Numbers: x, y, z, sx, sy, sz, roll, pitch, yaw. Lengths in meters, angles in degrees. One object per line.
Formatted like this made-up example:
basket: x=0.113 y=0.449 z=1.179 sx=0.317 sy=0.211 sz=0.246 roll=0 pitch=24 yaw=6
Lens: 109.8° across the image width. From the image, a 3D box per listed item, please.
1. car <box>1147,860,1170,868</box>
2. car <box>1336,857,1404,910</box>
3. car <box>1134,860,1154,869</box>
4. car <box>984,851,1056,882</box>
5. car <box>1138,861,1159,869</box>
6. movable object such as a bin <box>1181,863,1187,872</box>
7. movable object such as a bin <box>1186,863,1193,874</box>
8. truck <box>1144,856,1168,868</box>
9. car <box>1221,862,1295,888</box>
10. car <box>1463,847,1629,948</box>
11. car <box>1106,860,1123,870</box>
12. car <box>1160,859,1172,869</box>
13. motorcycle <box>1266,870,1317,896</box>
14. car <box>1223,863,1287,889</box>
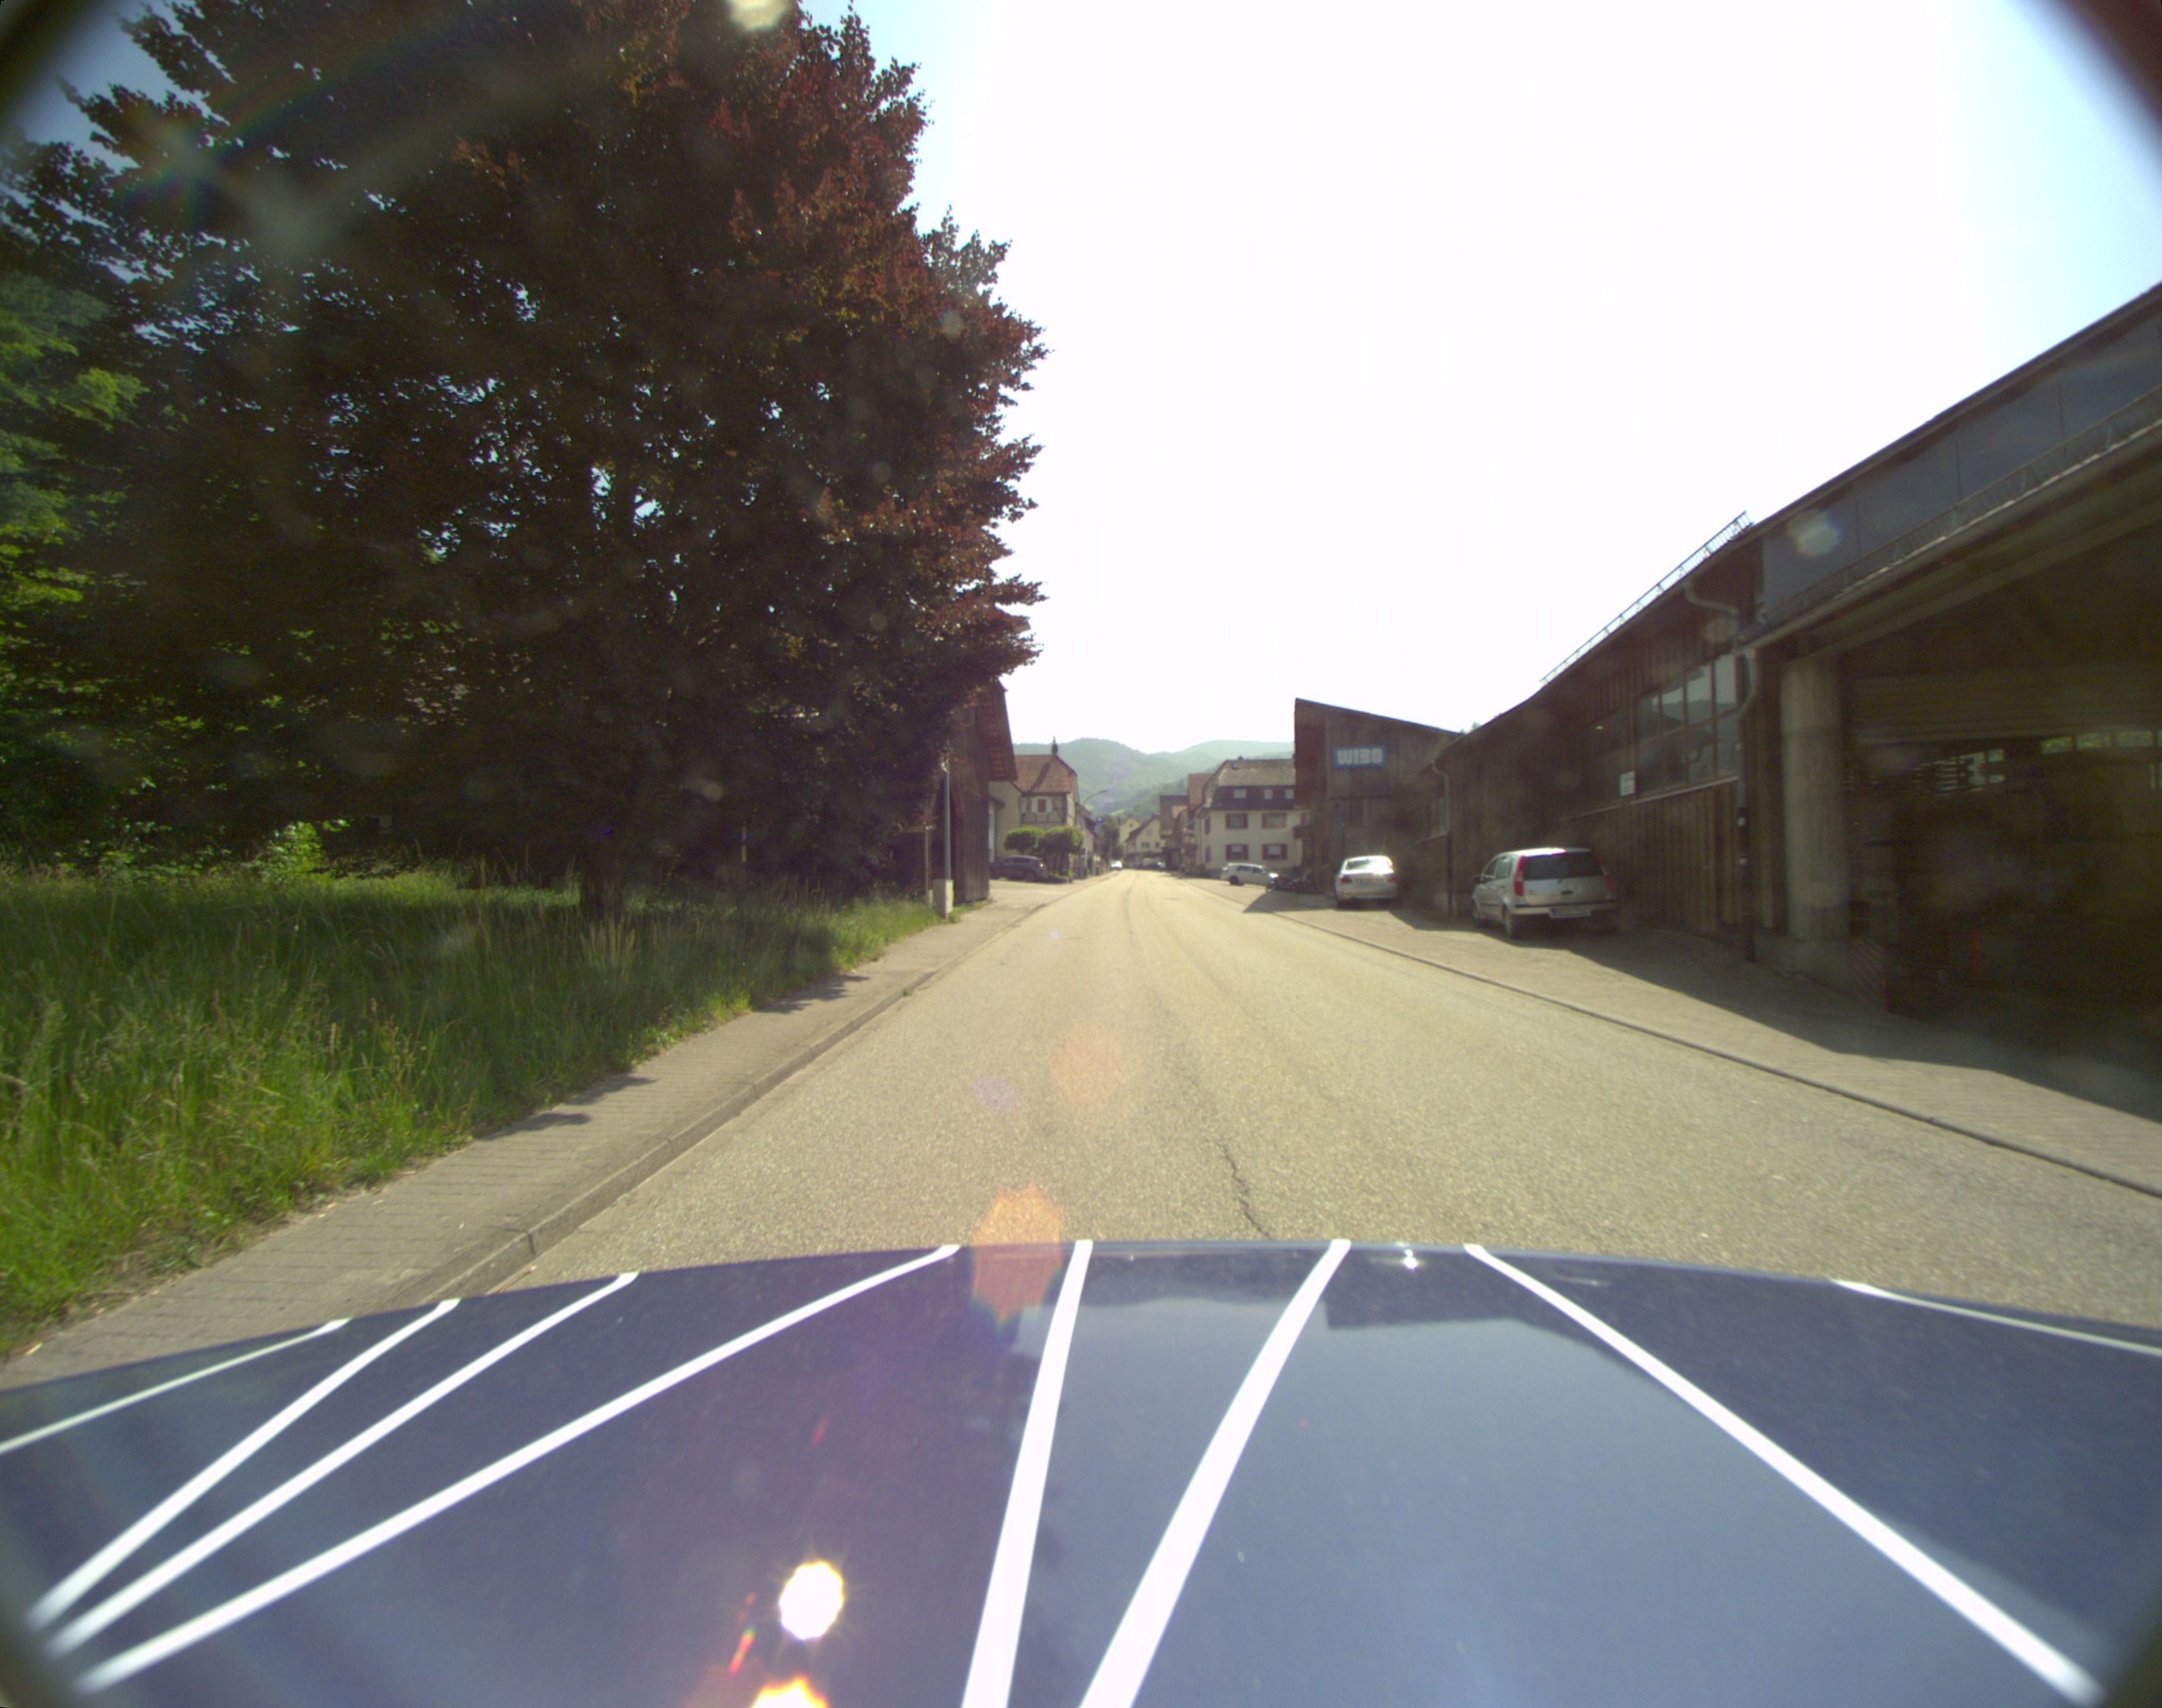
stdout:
car: x=14.339 y=1.897 z=140.936 sx=4.104 sy=1.494 sz=1.754 roll=0 pitch=0 yaw=3
car: x=8.757 y=0.873 z=23.309 sx=1.731 sy=1.445 sz=4.812 roll=-1 pitch=-1 yaw=19
car: x=12.714 y=2.120 z=153.041 sx=3.995 sy=1.563 sz=1.578 roll=1 pitch=0 yaw=6
car: x=-3.913 y=0.786 z=48.840 sx=4.228 sy=1.677 sz=1.778 roll=4 pitch=0 yaw=8
car: x=13.335 y=2.116 z=149.913 sx=3.997 sy=1.444 sz=1.628 roll=1 pitch=0 yaw=0
movable object such as a bin: x=13.628 y=1.733 z=100.460 sx=0.719 sy=1.174 sz=0.598 roll=1 pitch=0 yaw=6
movable object such as a bin: x=11.507 y=1.535 z=80.531 sx=0.677 sy=1.060 sz=0.621 roll=0 pitch=0 yaw=3
truck: x=14.394 y=1.519 z=145.882 sx=4.176 sy=2.253 sz=2.000 roll=-1 pitch=0 yaw=-1
car: x=11.822 y=1.383 z=50.817 sx=4.430 sy=1.466 sz=1.929 roll=3 pitch=0 yaw=30
car: x=8.527 y=0.736 z=14.316 sx=1.583 sy=1.560 sz=4.028 roll=-4 pitch=-1 yaw=16
car: x=5.980 y=1.961 z=135.925 sx=2.001 sy=1.672 sz=3.994 roll=0 pitch=0 yaw=-16
car: x=14.975 y=1.765 z=133.495 sx=1.774 sy=1.544 sz=4.286 roll=-2 pitch=-1 yaw=2
motorcycle: x=10.396 y=1.430 z=37.539 sx=2.412 sy=1.256 sz=0.744 roll=0 pitch=0 yaw=15
car: x=11.046 y=1.368 z=48.119 sx=3.662 sy=1.377 sz=1.714 roll=4 pitch=1 yaw=20
